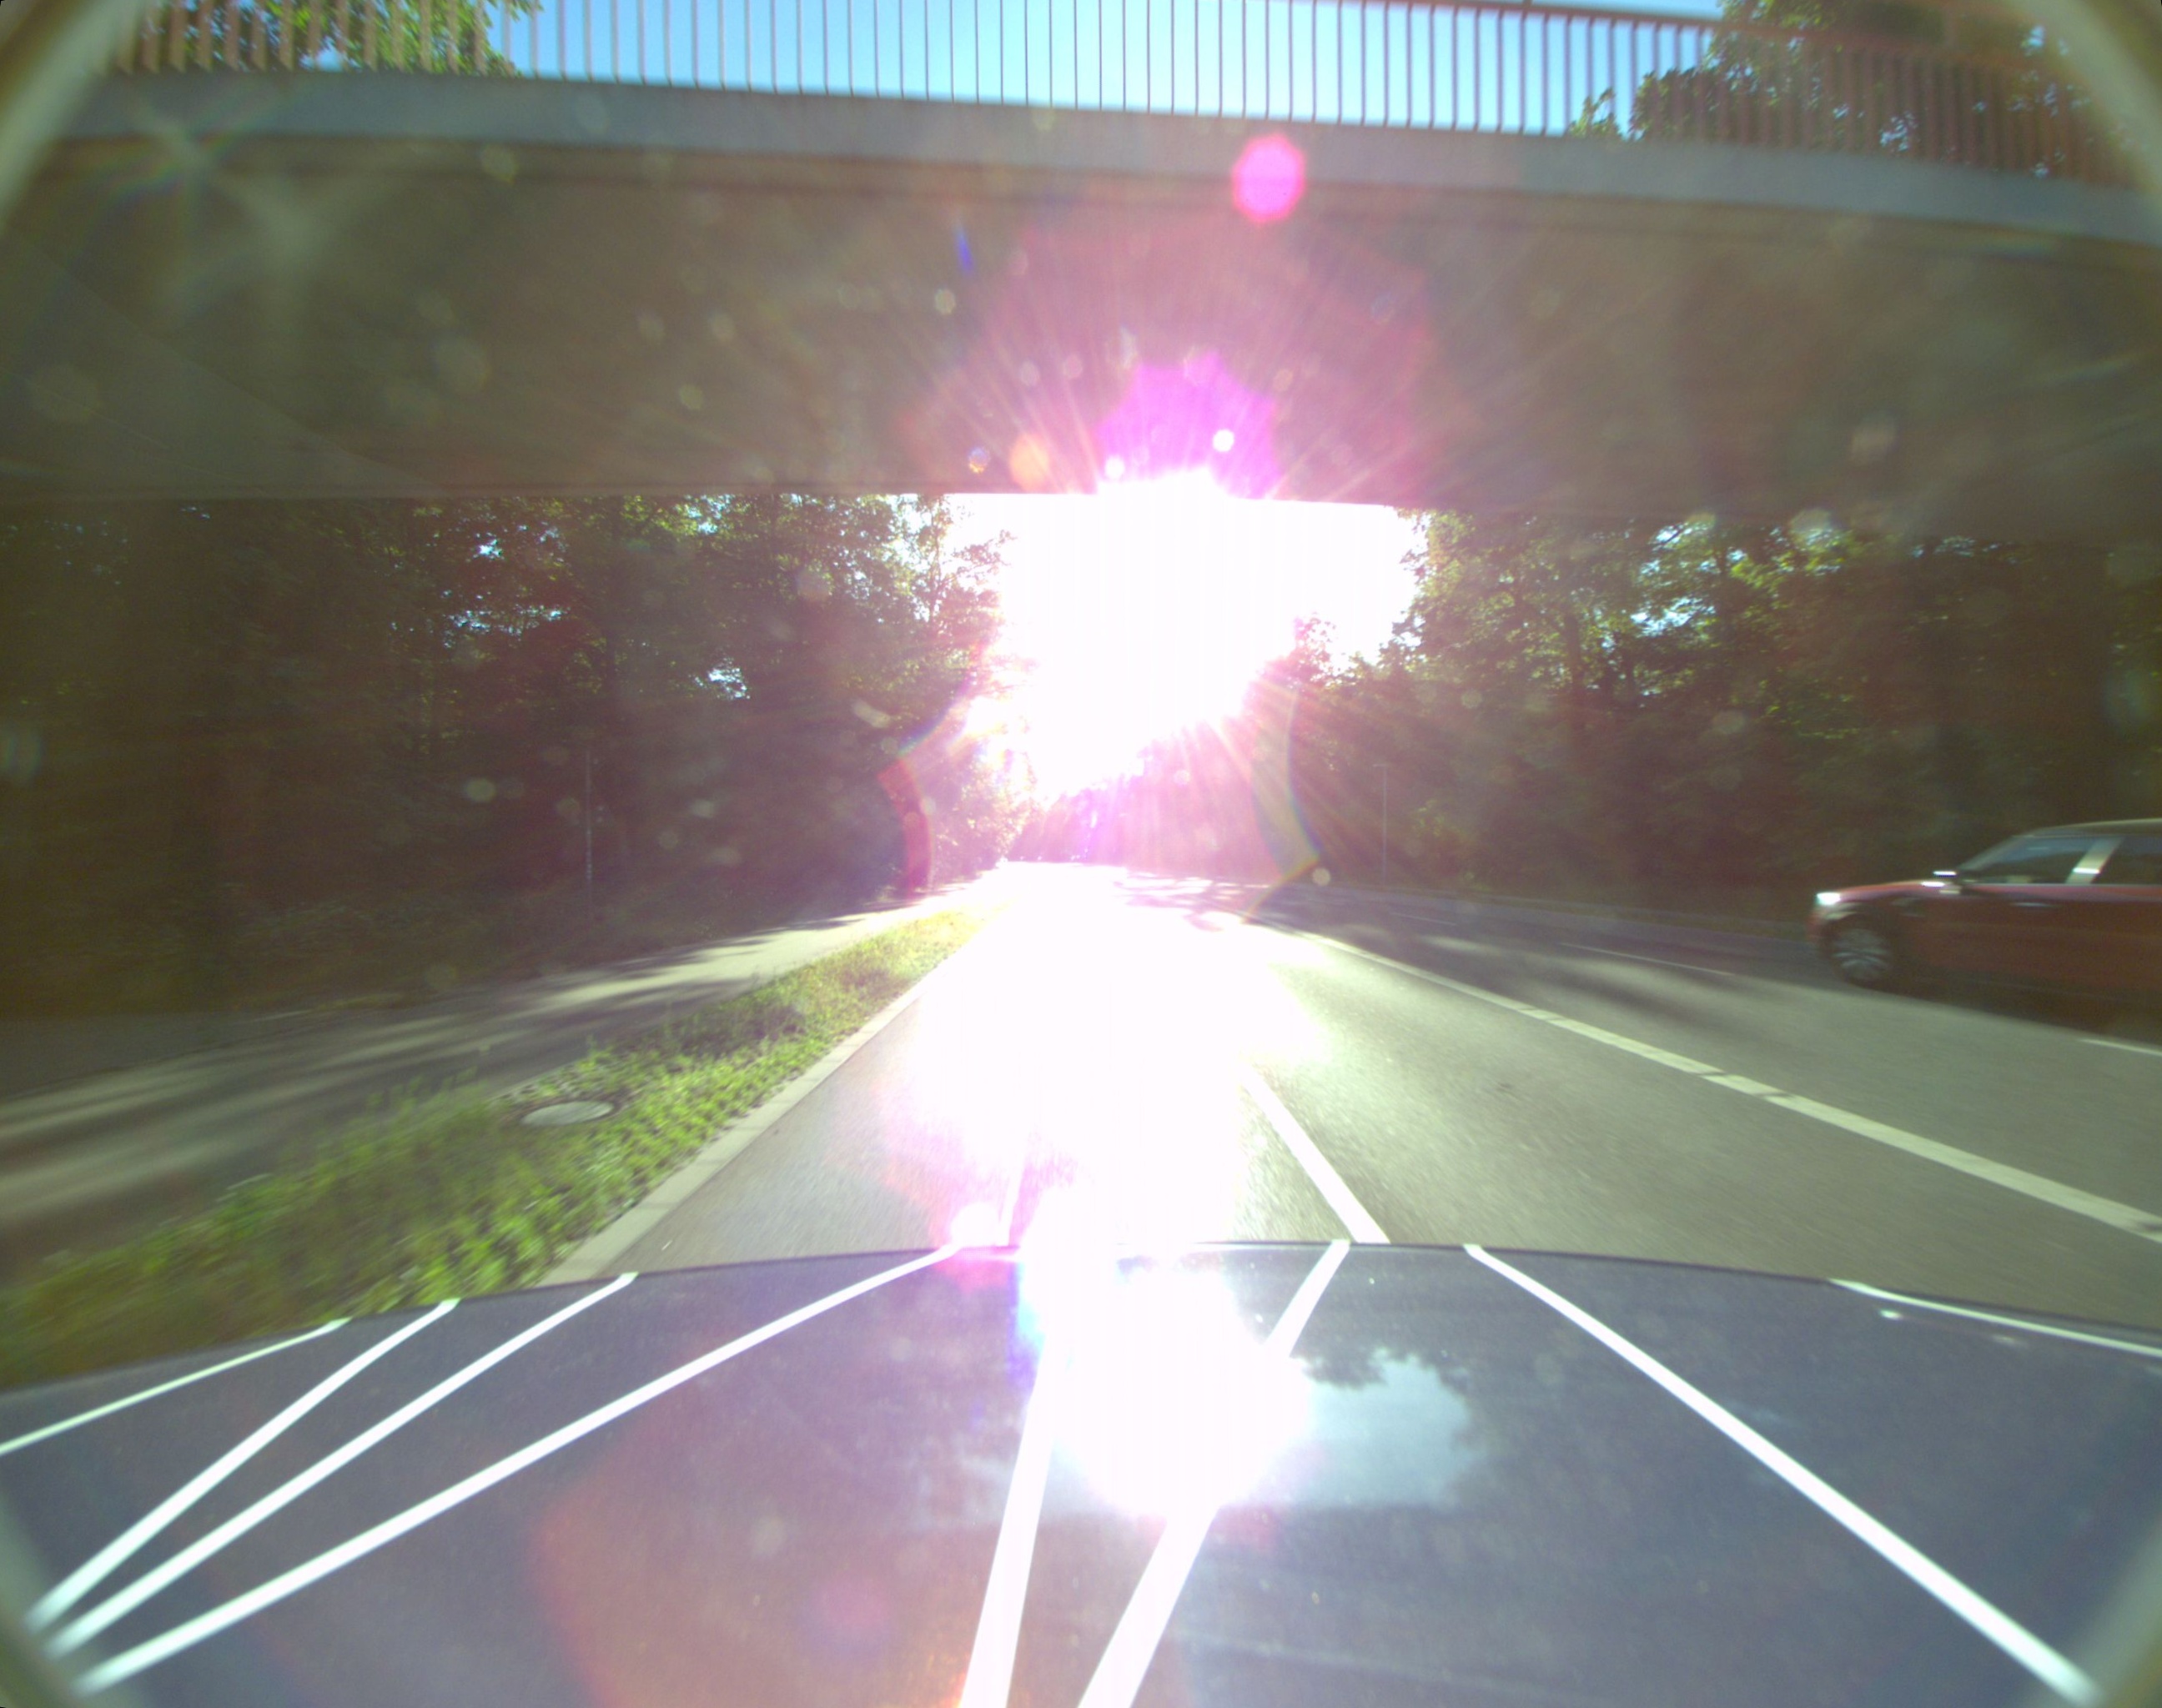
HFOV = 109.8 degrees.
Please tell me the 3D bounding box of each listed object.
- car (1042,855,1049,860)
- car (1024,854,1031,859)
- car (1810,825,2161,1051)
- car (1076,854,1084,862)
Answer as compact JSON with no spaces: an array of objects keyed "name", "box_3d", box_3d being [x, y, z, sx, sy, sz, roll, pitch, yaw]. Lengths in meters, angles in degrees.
[{"name":"car","box_3d":[-10.034,0.960,216.173,1.715,1.415,4.128,-1,0,-5]},{"name":"car","box_3d":[-17.735,0.856,251.156,1.813,1.653,4.517,-1,0,-10]},{"name":"car","box_3d":[8.396,0.571,5.749,1.766,1.573,4.168,-1,0,0]},{"name":"car","box_3d":[-0.223,0.842,154.762,1.499,1.436,3.499,-2,0,-4]}]
